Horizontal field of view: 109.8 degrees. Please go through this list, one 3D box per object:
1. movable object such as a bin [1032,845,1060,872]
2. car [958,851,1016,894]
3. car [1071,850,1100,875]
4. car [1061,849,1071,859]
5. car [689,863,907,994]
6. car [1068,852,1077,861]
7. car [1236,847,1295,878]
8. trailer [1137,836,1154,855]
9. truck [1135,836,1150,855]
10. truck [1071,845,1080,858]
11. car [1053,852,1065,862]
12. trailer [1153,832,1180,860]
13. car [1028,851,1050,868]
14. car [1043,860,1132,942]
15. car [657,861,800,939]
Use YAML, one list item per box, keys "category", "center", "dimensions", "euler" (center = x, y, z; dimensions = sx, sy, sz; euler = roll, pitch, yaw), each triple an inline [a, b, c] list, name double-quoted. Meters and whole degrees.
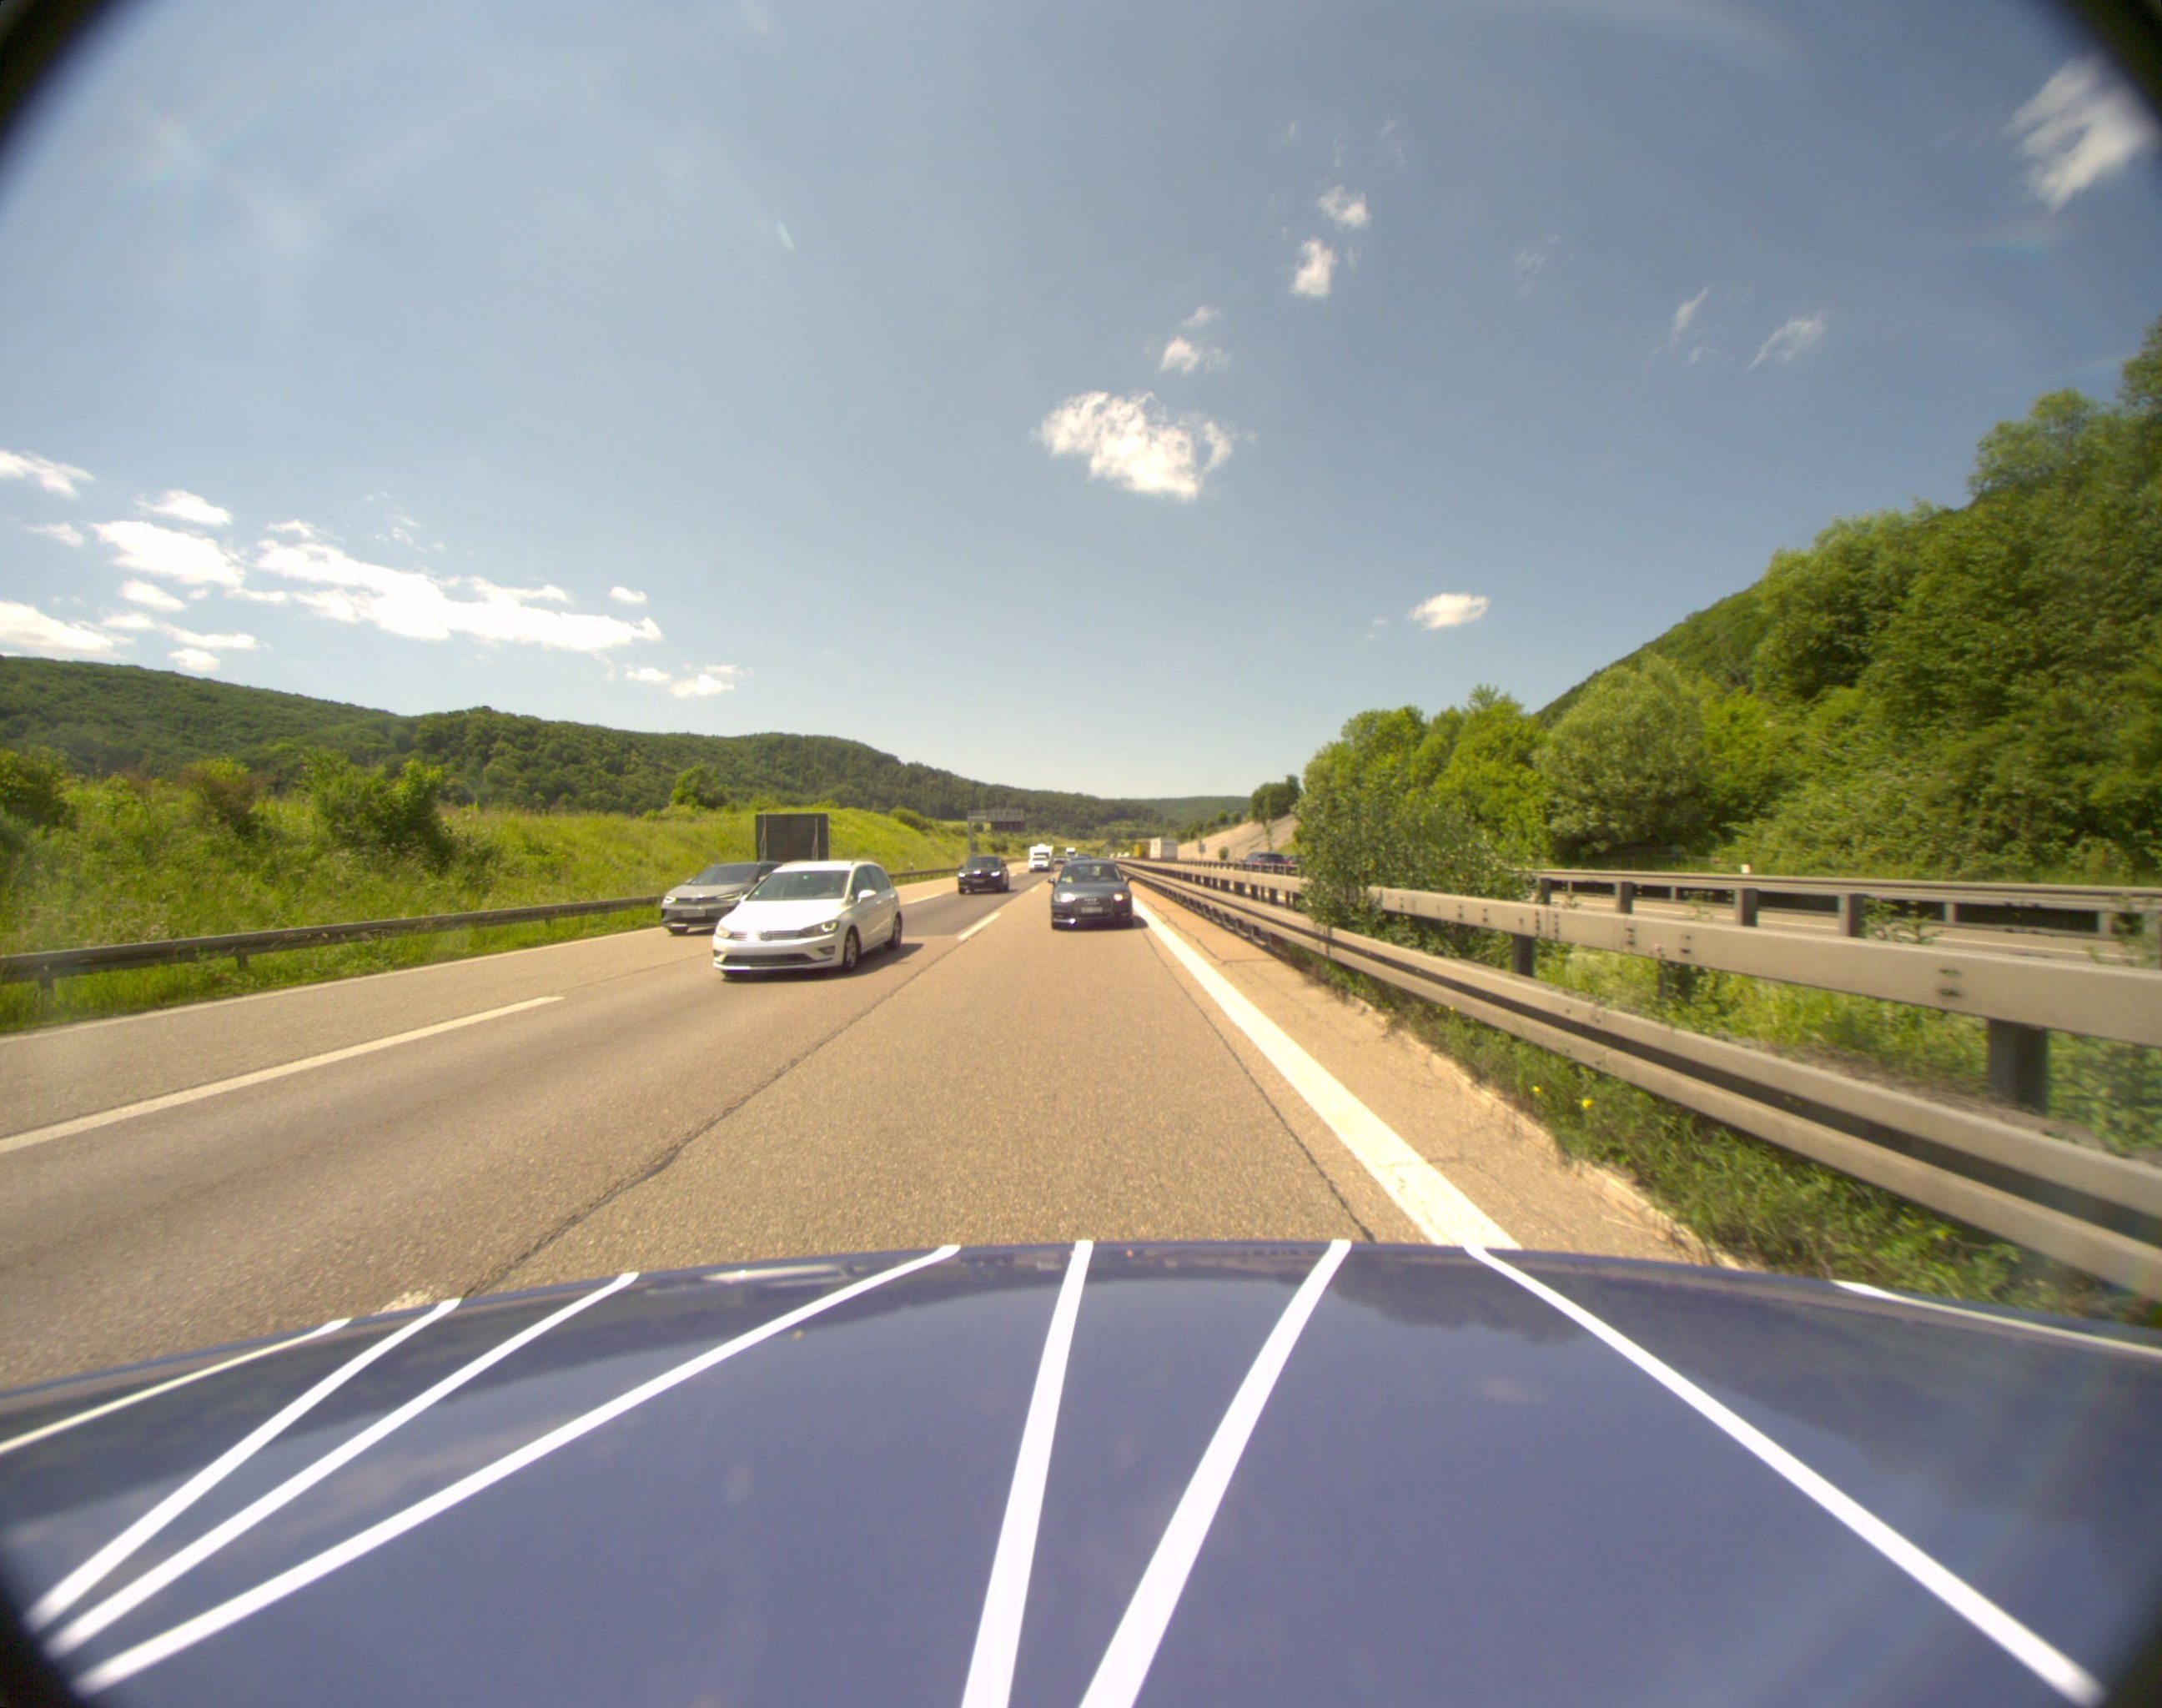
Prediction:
- category: "movable object such as a bin"
  center: [-3.642, 0.420, 80.727]
  dimensions: [2.481, 2.616, 6.708]
  euler: [-2, 0, 1]
- category: "car"
  center: [-4.065, 0.759, 33.471]
  dimensions: [1.893, 1.761, 4.171]
  euler: [-1, 0, 2]
- category: "car"
  center: [0.328, 0.569, 51.423]
  dimensions: [1.835, 1.587, 4.000]
  euler: [-1, 0, 2]
- category: "car"
  center: [-3.079, -0.088, 155.644]
  dimensions: [1.999, 2.002, 3.999]
  euler: [-1, 0, -1]
- category: "car"
  center: [-4.034, 0.959, 11.601]
  dimensions: [1.777, 1.532, 4.053]
  euler: [-2, 0, 0]
- category: "car"
  center: [-2.066, 0.638, 180.803]
  dimensions: [1.998, 2.002, 3.999]
  euler: [-2, 1, 0]
- category: "car"
  center: [8.871, 0.386, 36.871]
  dimensions: [1.874, 1.412, 4.433]
  euler: [0, 0, 1]
- category: "trailer"
  center: [14.205, -1.901, 168.399]
  dimensions: [2.834, 4.123, 10.404]
  euler: [-2, 0, 1]
- category: "truck"
  center: [14.355, -1.966, 178.384]
  dimensions: [2.834, 4.123, 9.614]
  euler: [-2, 0, 1]
- category: "truck"
  center: [-1.564, -0.786, 223.829]
  dimensions: [2.336, 3.623, 7.005]
  euler: [-2, 0, 1]
- category: "car"
  center: [-3.481, 0.445, 121.520]
  dimensions: [1.711, 1.542, 4.000]
  euler: [-1, 0, 1]
- category: "trailer"
  center: [13.060, -1.169, 117.019]
  dimensions: [2.863, 4.052, 11.262]
  euler: [0, 0, 0]
- category: "car"
  center: [-4.073, 0.501, 73.463]
  dimensions: [1.821, 1.574, 4.000]
  euler: [-1, 0, 1]
- category: "car"
  center: [0.254, 0.881, 15.977]
  dimensions: [1.591, 1.402, 4.001]
  euler: [-2, 0, 4]
- category: "car"
  center: [-8.412, 1.015, 18.575]
  dimensions: [1.684, 1.585, 4.247]
  euler: [-2, 0, -4]
